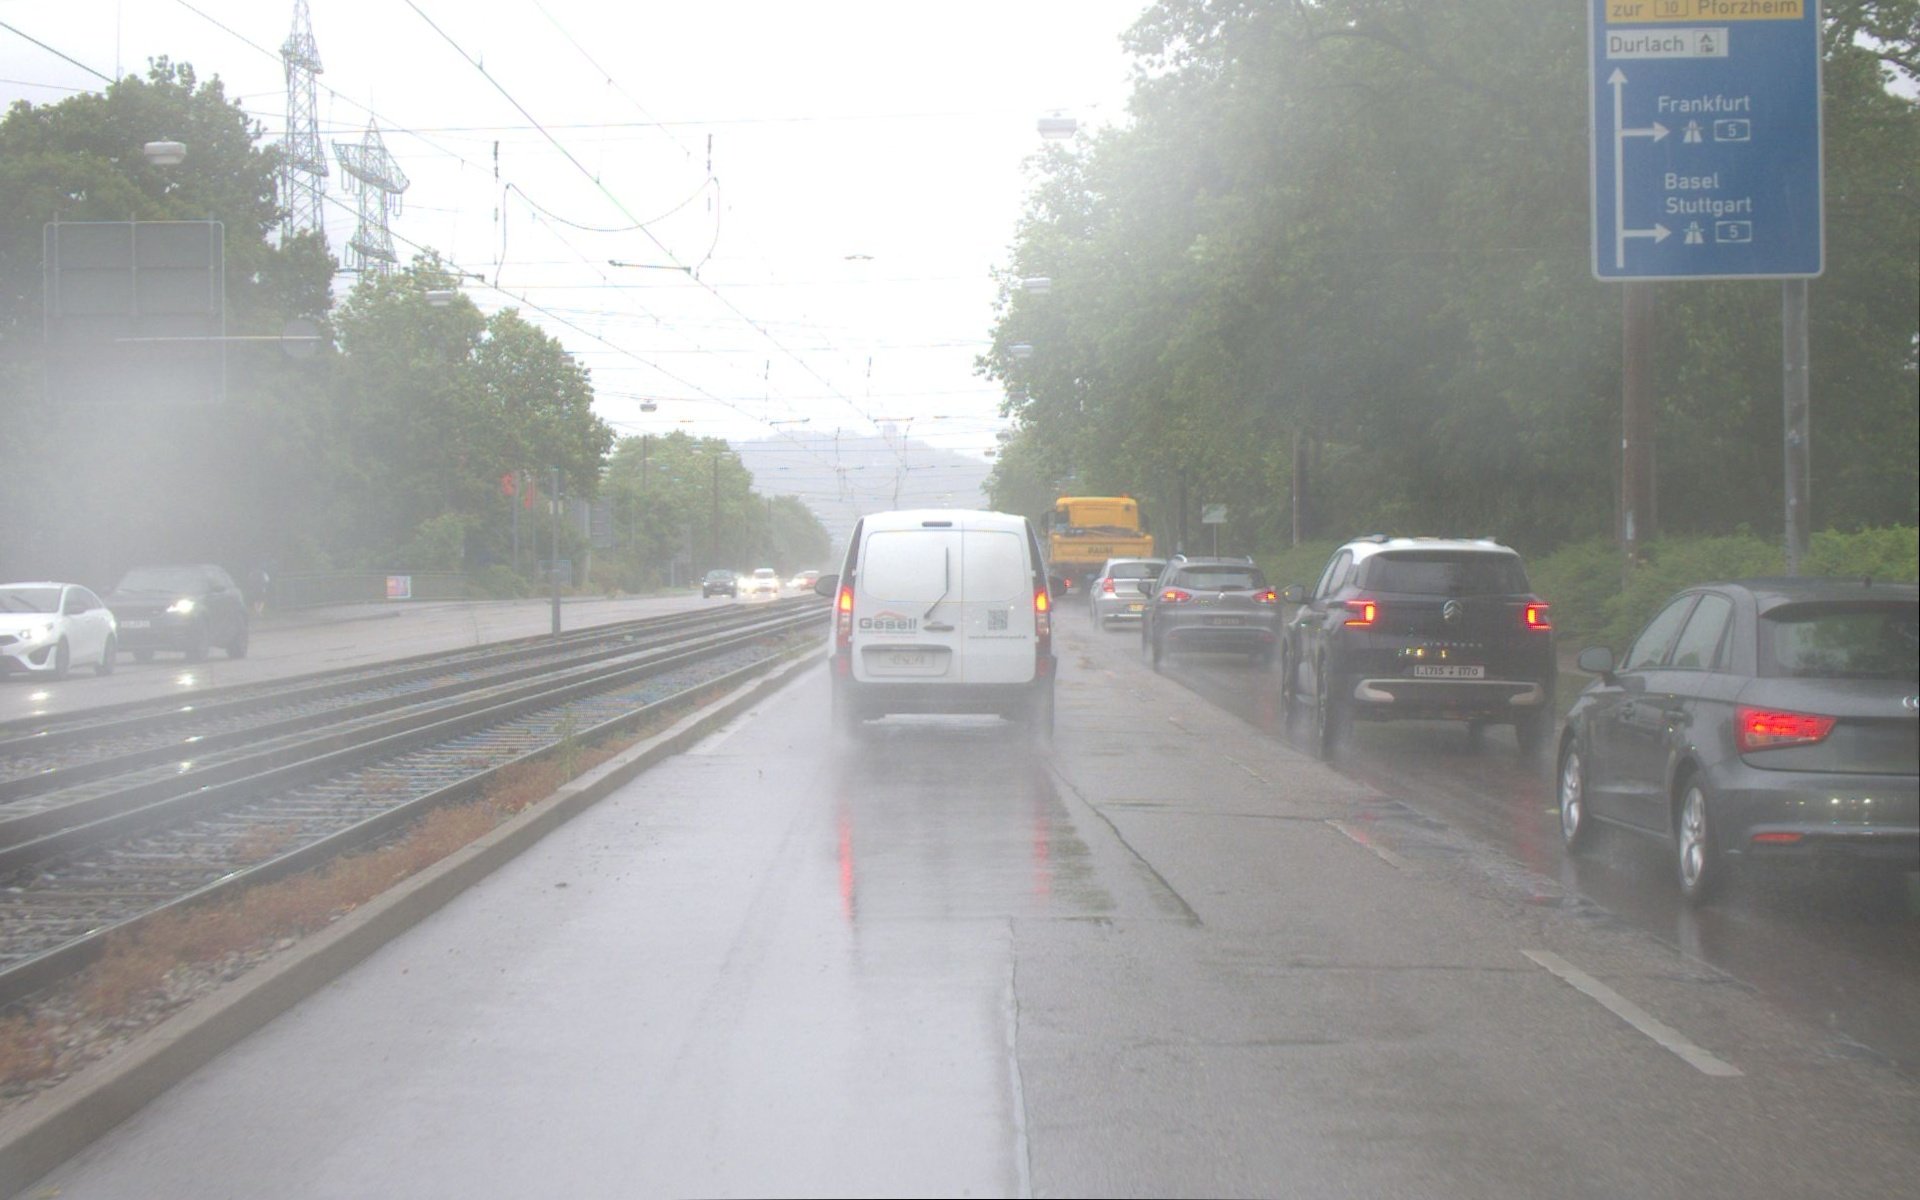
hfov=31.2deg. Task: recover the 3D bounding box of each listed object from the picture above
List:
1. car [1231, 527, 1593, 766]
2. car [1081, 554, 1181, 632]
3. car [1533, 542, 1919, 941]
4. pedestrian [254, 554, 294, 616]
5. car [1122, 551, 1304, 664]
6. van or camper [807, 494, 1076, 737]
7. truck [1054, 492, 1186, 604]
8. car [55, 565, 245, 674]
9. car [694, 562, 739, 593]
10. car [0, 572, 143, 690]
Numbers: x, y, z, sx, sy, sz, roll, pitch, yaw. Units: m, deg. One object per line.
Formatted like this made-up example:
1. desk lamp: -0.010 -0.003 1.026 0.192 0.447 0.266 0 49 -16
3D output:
1. car: 3.503 0.294 27.560 1.899 1.711 4.726 1 1 -5
2. car: 3.308 -0.151 67.146 1.818 1.409 3.778 1 1 1
3. car: 3.944 0.529 15.475 1.967 1.523 3.991 1 1 -1
4. pedestrian: -19.587 -0.427 98.172 0.851 1.753 1.121 -1 1 1
5. car: 3.403 0.072 46.916 1.818 1.409 3.779 1 1 -6
6. van or camper: -0.212 0.056 27.903 1.993 1.778 4.001 1 2 -2
7. truck: 4.045 -1.332 88.213 3.113 2.764 6.329 0 1 0
8. car: -13.799 0.292 58.856 1.993 1.715 4.882 -1 1 1
9. car: -13.313 -1.250 187.907 1.993 1.612 4.253 -1 1 2
10. car: -13.660 0.434 50.379 1.994 1.578 4.766 -1 1 3
